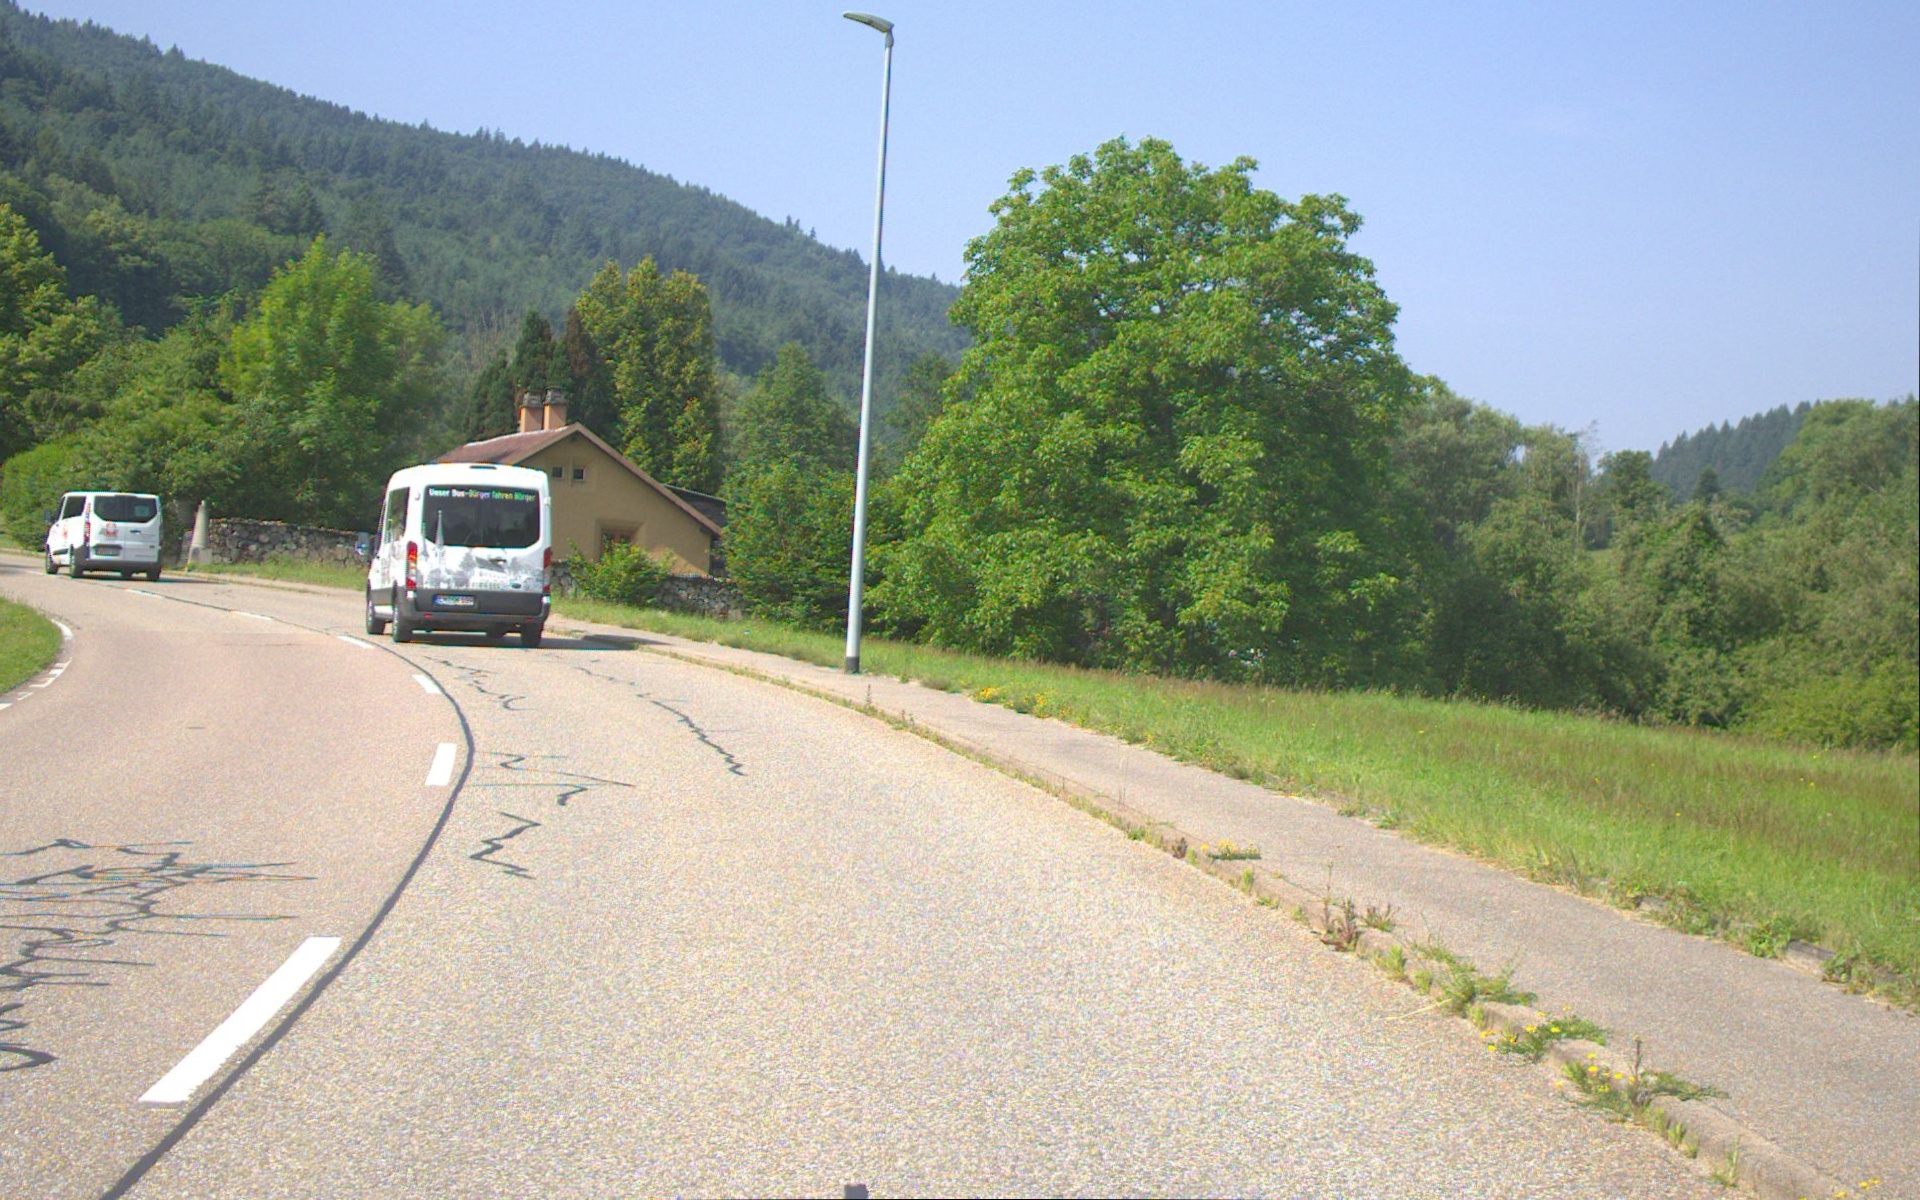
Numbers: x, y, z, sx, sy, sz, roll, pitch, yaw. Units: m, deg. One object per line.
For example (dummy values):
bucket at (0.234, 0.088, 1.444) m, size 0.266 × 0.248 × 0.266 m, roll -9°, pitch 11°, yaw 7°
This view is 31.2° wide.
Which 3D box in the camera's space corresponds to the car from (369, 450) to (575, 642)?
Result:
car at (-6.915, -0.762, 48.306) m, size 2.222 × 2.517 × 4.986 m, roll -1°, pitch 1°, yaw -15°

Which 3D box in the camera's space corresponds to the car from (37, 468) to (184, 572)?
car at (-19.560, -1.820, 78.983) m, size 2.222 × 2.279 × 4.985 m, roll -2°, pitch 1°, yaw -26°
